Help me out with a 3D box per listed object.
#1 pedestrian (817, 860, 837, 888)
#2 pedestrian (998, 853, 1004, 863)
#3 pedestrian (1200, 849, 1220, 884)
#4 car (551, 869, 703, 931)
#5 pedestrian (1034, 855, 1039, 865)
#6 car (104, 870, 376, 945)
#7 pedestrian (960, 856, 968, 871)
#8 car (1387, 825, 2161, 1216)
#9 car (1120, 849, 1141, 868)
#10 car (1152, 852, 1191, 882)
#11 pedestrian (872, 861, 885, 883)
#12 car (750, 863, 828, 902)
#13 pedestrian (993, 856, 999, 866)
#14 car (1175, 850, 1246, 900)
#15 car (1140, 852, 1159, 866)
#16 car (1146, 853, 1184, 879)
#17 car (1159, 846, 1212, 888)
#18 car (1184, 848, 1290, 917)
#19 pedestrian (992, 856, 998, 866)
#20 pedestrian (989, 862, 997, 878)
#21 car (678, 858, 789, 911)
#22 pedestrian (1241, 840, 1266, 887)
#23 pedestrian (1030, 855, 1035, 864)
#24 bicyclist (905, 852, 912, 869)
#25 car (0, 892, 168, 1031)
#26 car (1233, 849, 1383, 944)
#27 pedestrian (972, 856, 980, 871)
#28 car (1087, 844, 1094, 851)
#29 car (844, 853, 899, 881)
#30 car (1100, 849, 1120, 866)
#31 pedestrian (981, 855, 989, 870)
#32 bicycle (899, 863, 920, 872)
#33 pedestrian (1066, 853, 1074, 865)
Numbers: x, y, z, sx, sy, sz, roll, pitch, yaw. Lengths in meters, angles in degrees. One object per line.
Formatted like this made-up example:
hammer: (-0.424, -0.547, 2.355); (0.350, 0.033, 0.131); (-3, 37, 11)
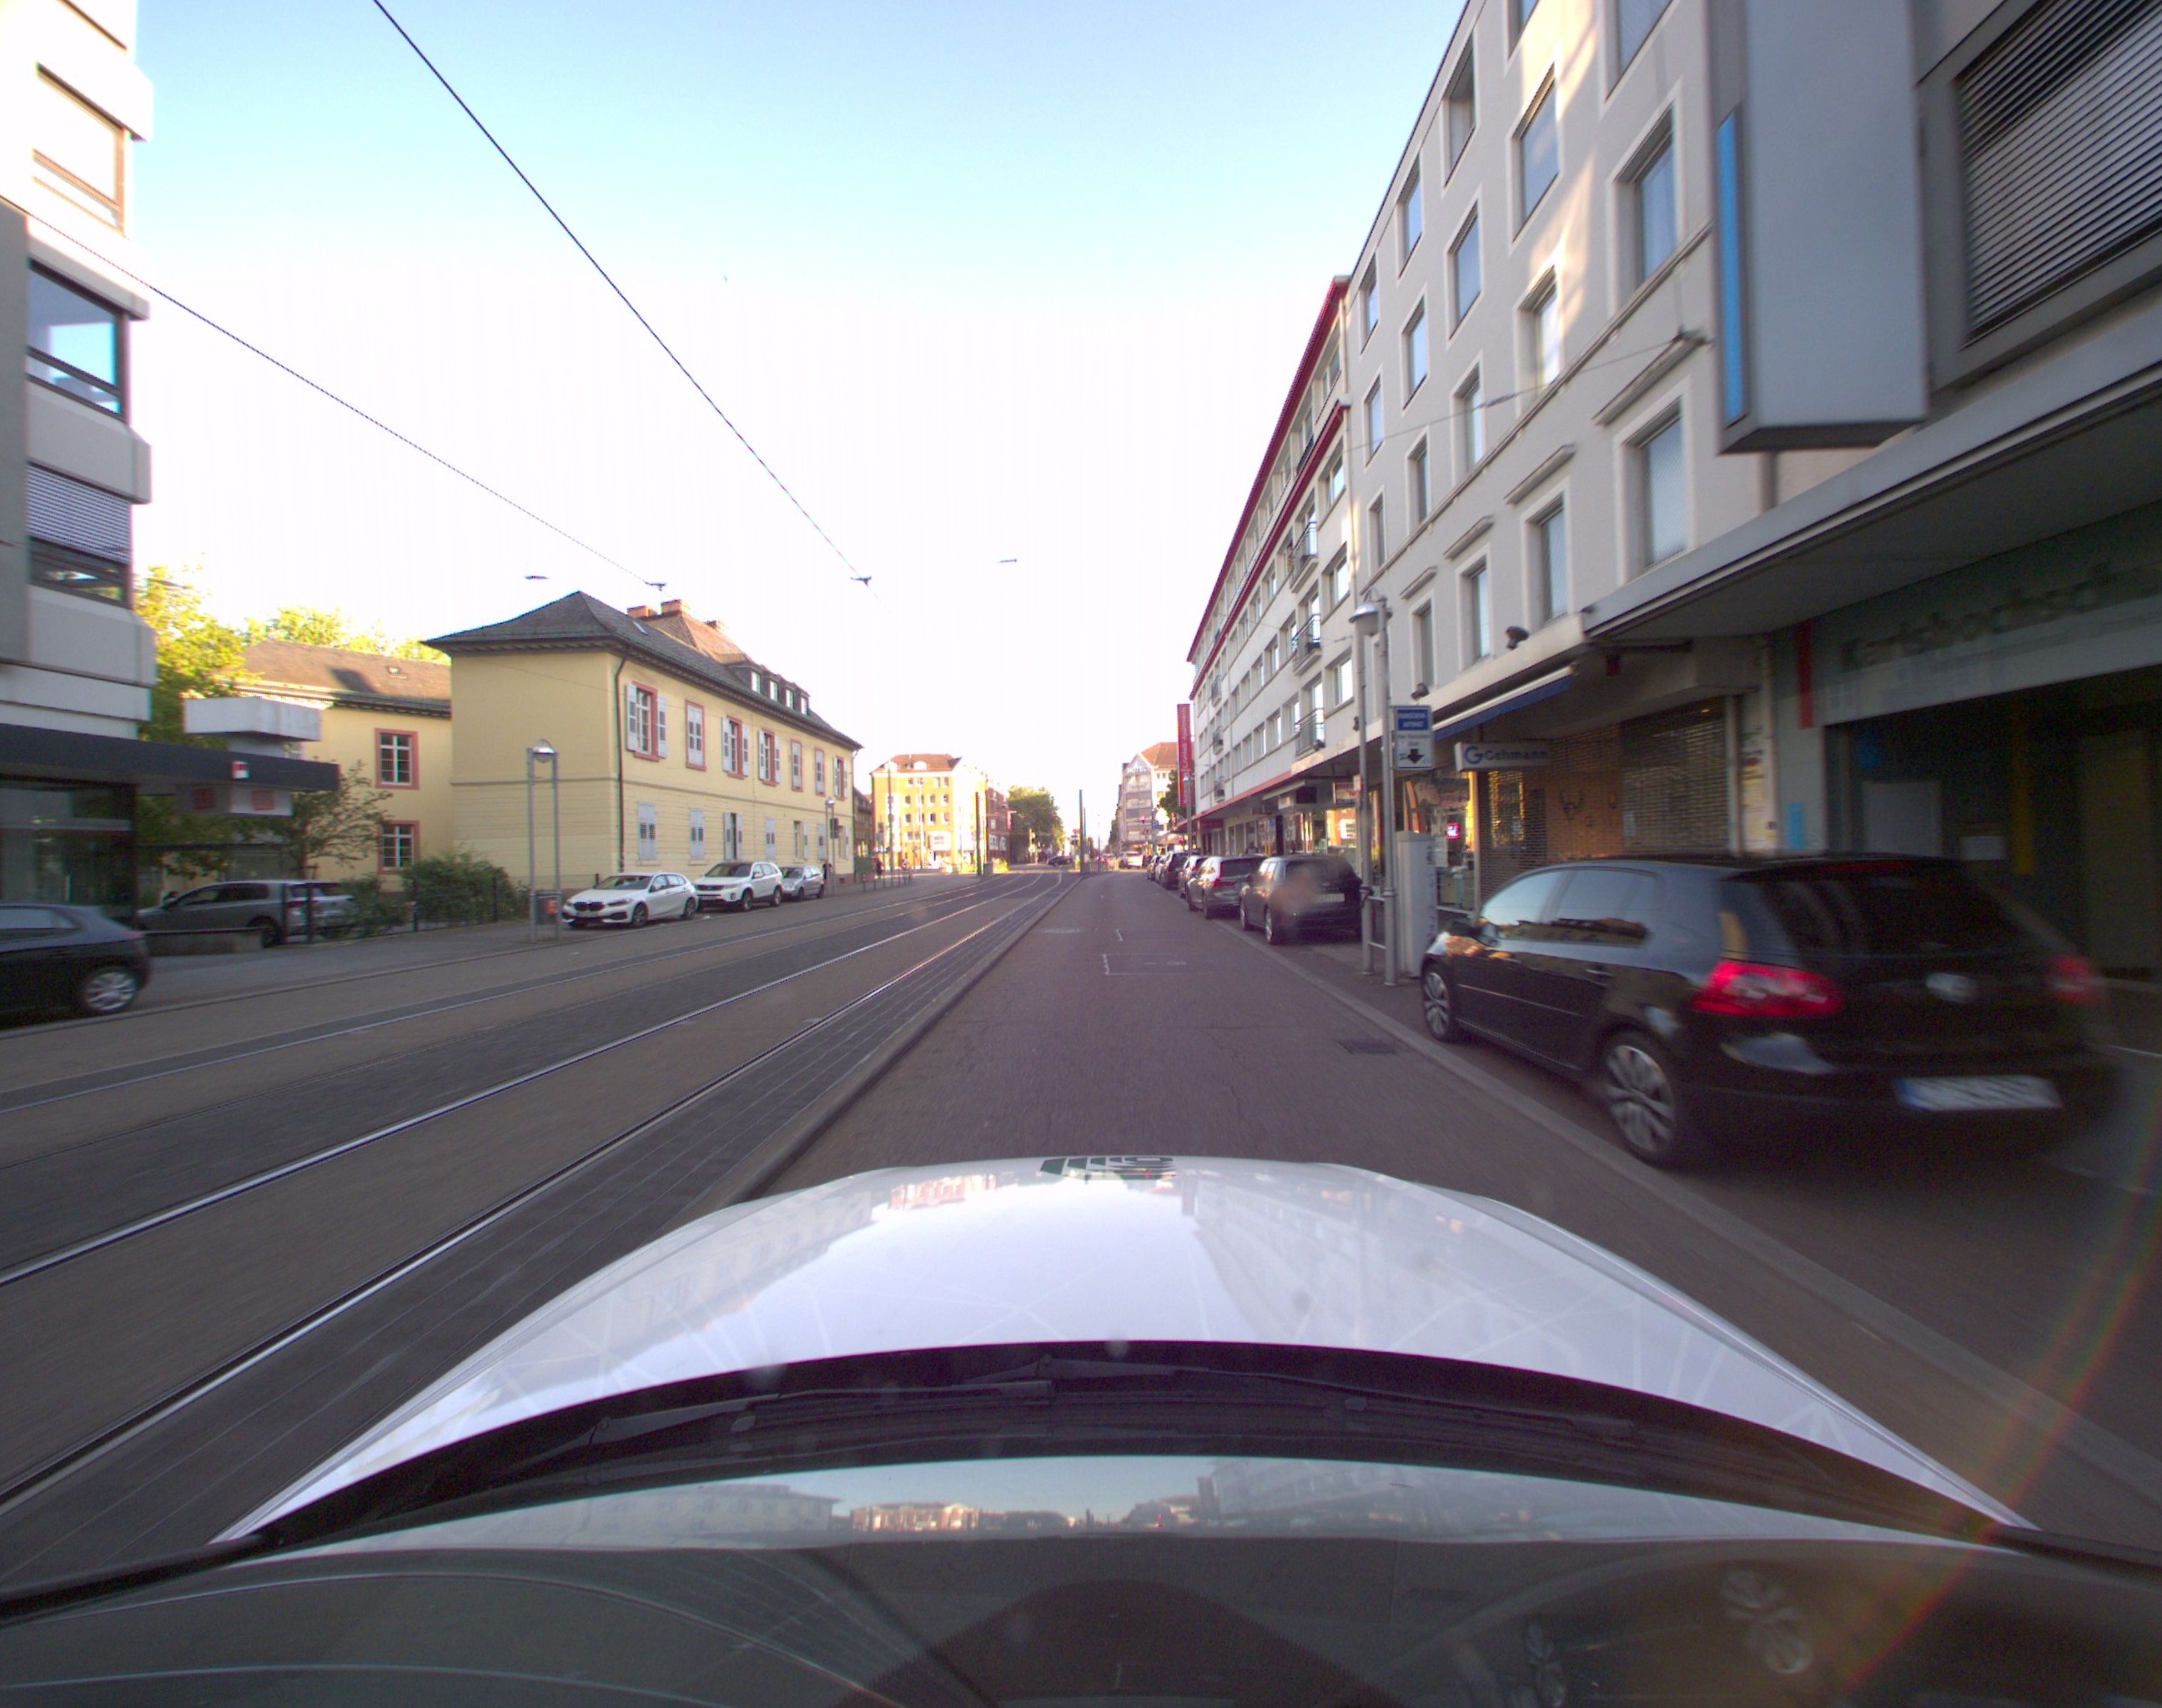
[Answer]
pedestrian: (-13.917, 1.077, 44.637); (0.796, 1.542, 0.878); (0, -1, 4)
pedestrian: (-15.691, 0.813, 159.570); (1.090, 2.014, 1.162); (0, -1, -1)
pedestrian: (5.973, 0.583, 37.663); (0.730, 1.574, 0.967); (-2, 0, 1)
car: (-12.365, 1.199, 22.553); (1.714, 1.453, 4.284); (0, 0, 1)
pedestrian: (-8.218, 1.029, 149.381); (0.802, 1.823, 0.704); (0, -1, 4)
car: (-18.538, 1.151, 18.118); (3.975, 1.553, 1.913); (0, -1, -1)
pedestrian: (-10.822, 0.880, 75.341); (0.662, 1.375, 0.651); (-2, 0, -1)
car: (3.541, 0.660, 5.204); (1.758, 1.513, 4.073); (0, 0, 2)
car: (4.705, 0.495, 77.830); (1.828, 1.636, 4.093); (-3, -2, 3)
car: (4.536, 0.646, 41.365); (1.645, 1.421, 4.193); (0, 0, 2)
pedestrian: (-14.706, 1.281, 59.109); (0.717, 1.536, 0.718); (-2, -1, -3)
car: (-12.167, 1.142, 34.191); (1.742, 1.474, 4.001); (0, 0, 1)
pedestrian: (-16.294, 1.320, 156.062); (1.090, 2.014, 0.908); (0, -1, -1)
car: (4.157, 0.622, 26.715); (1.774, 1.522, 4.359); (0, 0, 2)
car: (7.551, 0.560, 90.420); (1.758, 1.440, 4.000); (-2, 0, 0)
car: (4.765, 0.685, 46.605); (1.783, 1.413, 4.688); (0, 0, 1)
car: (4.448, 0.552, 35.291); (1.849, 1.701, 4.419); (0, 0, 1)
car: (3.745, 0.647, 20.394); (1.785, 1.533, 4.857); (0, 0, 1)
pedestrian: (-16.351, 1.304, 154.818); (1.090, 2.014, 0.908); (0, -1, -1)
pedestrian: (-7.428, 1.362, 68.873); (0.662, 1.375, 0.651); (0, -1, -1)
car: (-12.055, 0.997, 28.645); (1.880, 1.661, 4.760); (0, 0, 0)
pedestrian: (7.176, 0.381, 33.816); (0.772, 1.880, 0.934); (-2, -1, 0)
pedestrian: (-8.976, 1.083, 150.293); (0.801, 1.664, 0.704); (0, -1, 5)
bicyclist: (-21.477, 0.813, 101.415); (0.863, 2.014, 0.642); (0, -1, -19)
car: (-12.698, 1.219, 8.541); (1.685, 1.425, 3.967); (0, 0, 2)
car: (3.911, 0.679, 14.718); (1.719, 1.481, 4.001); (0, 0, 2)
pedestrian: (-9.691, 0.849, 75.435); (0.662, 1.375, 0.651); (-1, 0, -1)
car: (2.857, -1.937, 237.748); (1.985, 1.901, 4.003); (0, -1, 3)
car: (-16.149, 0.972, 62.841); (3.994, 2.013, 1.990); (-2, 0, -15)
car: (3.185, 0.364, 90.274); (1.986, 1.596, 4.001); (-6, -2, 2)
pedestrian: (-8.932, 0.800, 75.815); (0.662, 1.375, 0.651); (-2, 0, -1)
bicycle: (-21.358, 1.675, 101.442); (2.647, 1.099, 0.433); (0, -1, -18)
pedestrian: (-1.297, 0.577, 98.795); (0.900, 1.375, 0.853); (-2, 0, -1)
